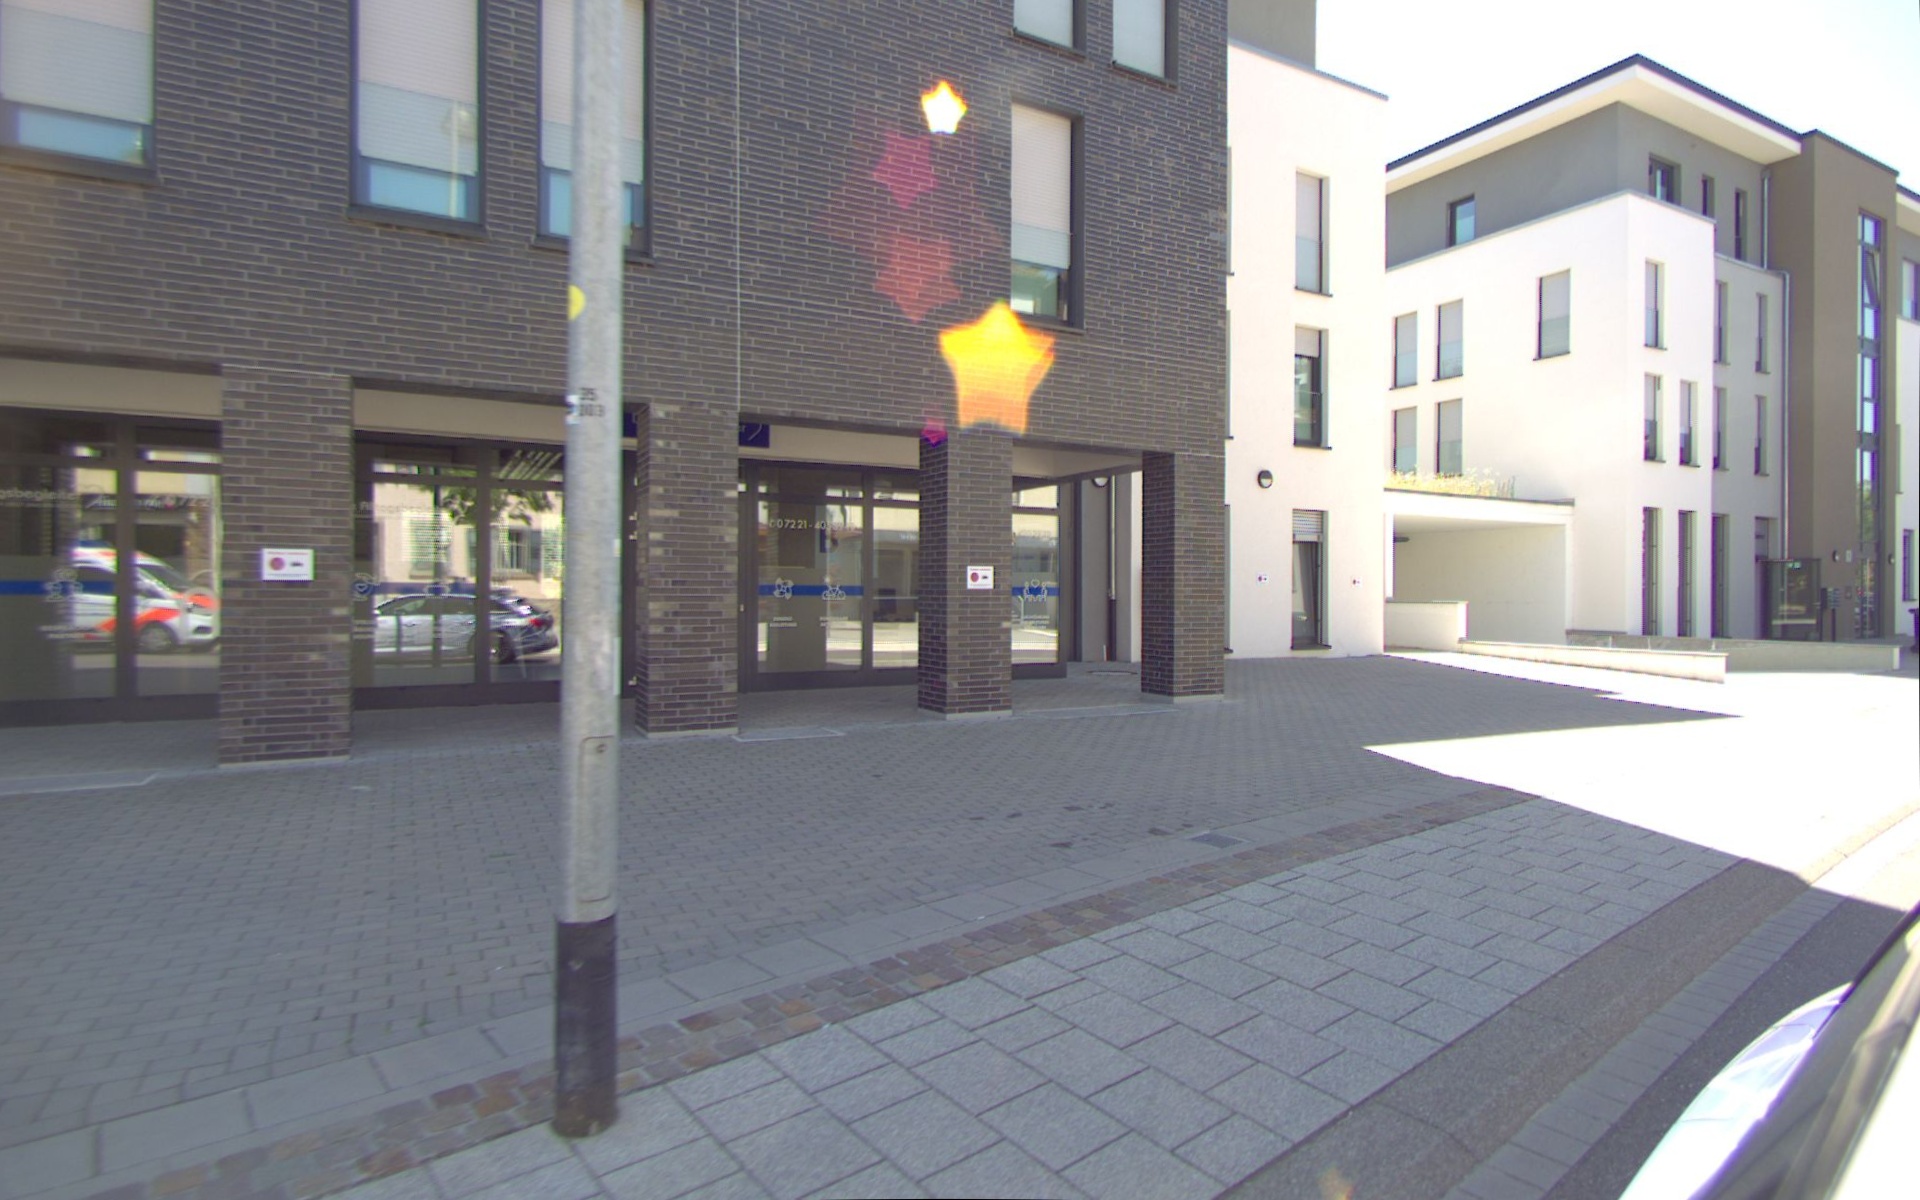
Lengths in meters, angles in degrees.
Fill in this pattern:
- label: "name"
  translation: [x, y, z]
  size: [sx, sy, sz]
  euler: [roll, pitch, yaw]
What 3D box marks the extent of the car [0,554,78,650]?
- label: "car"
  translation: [-16.786, 0.001, 15.850]
  size: [4.085, 1.459, 1.821]
  euler: [0, 1, -16]
